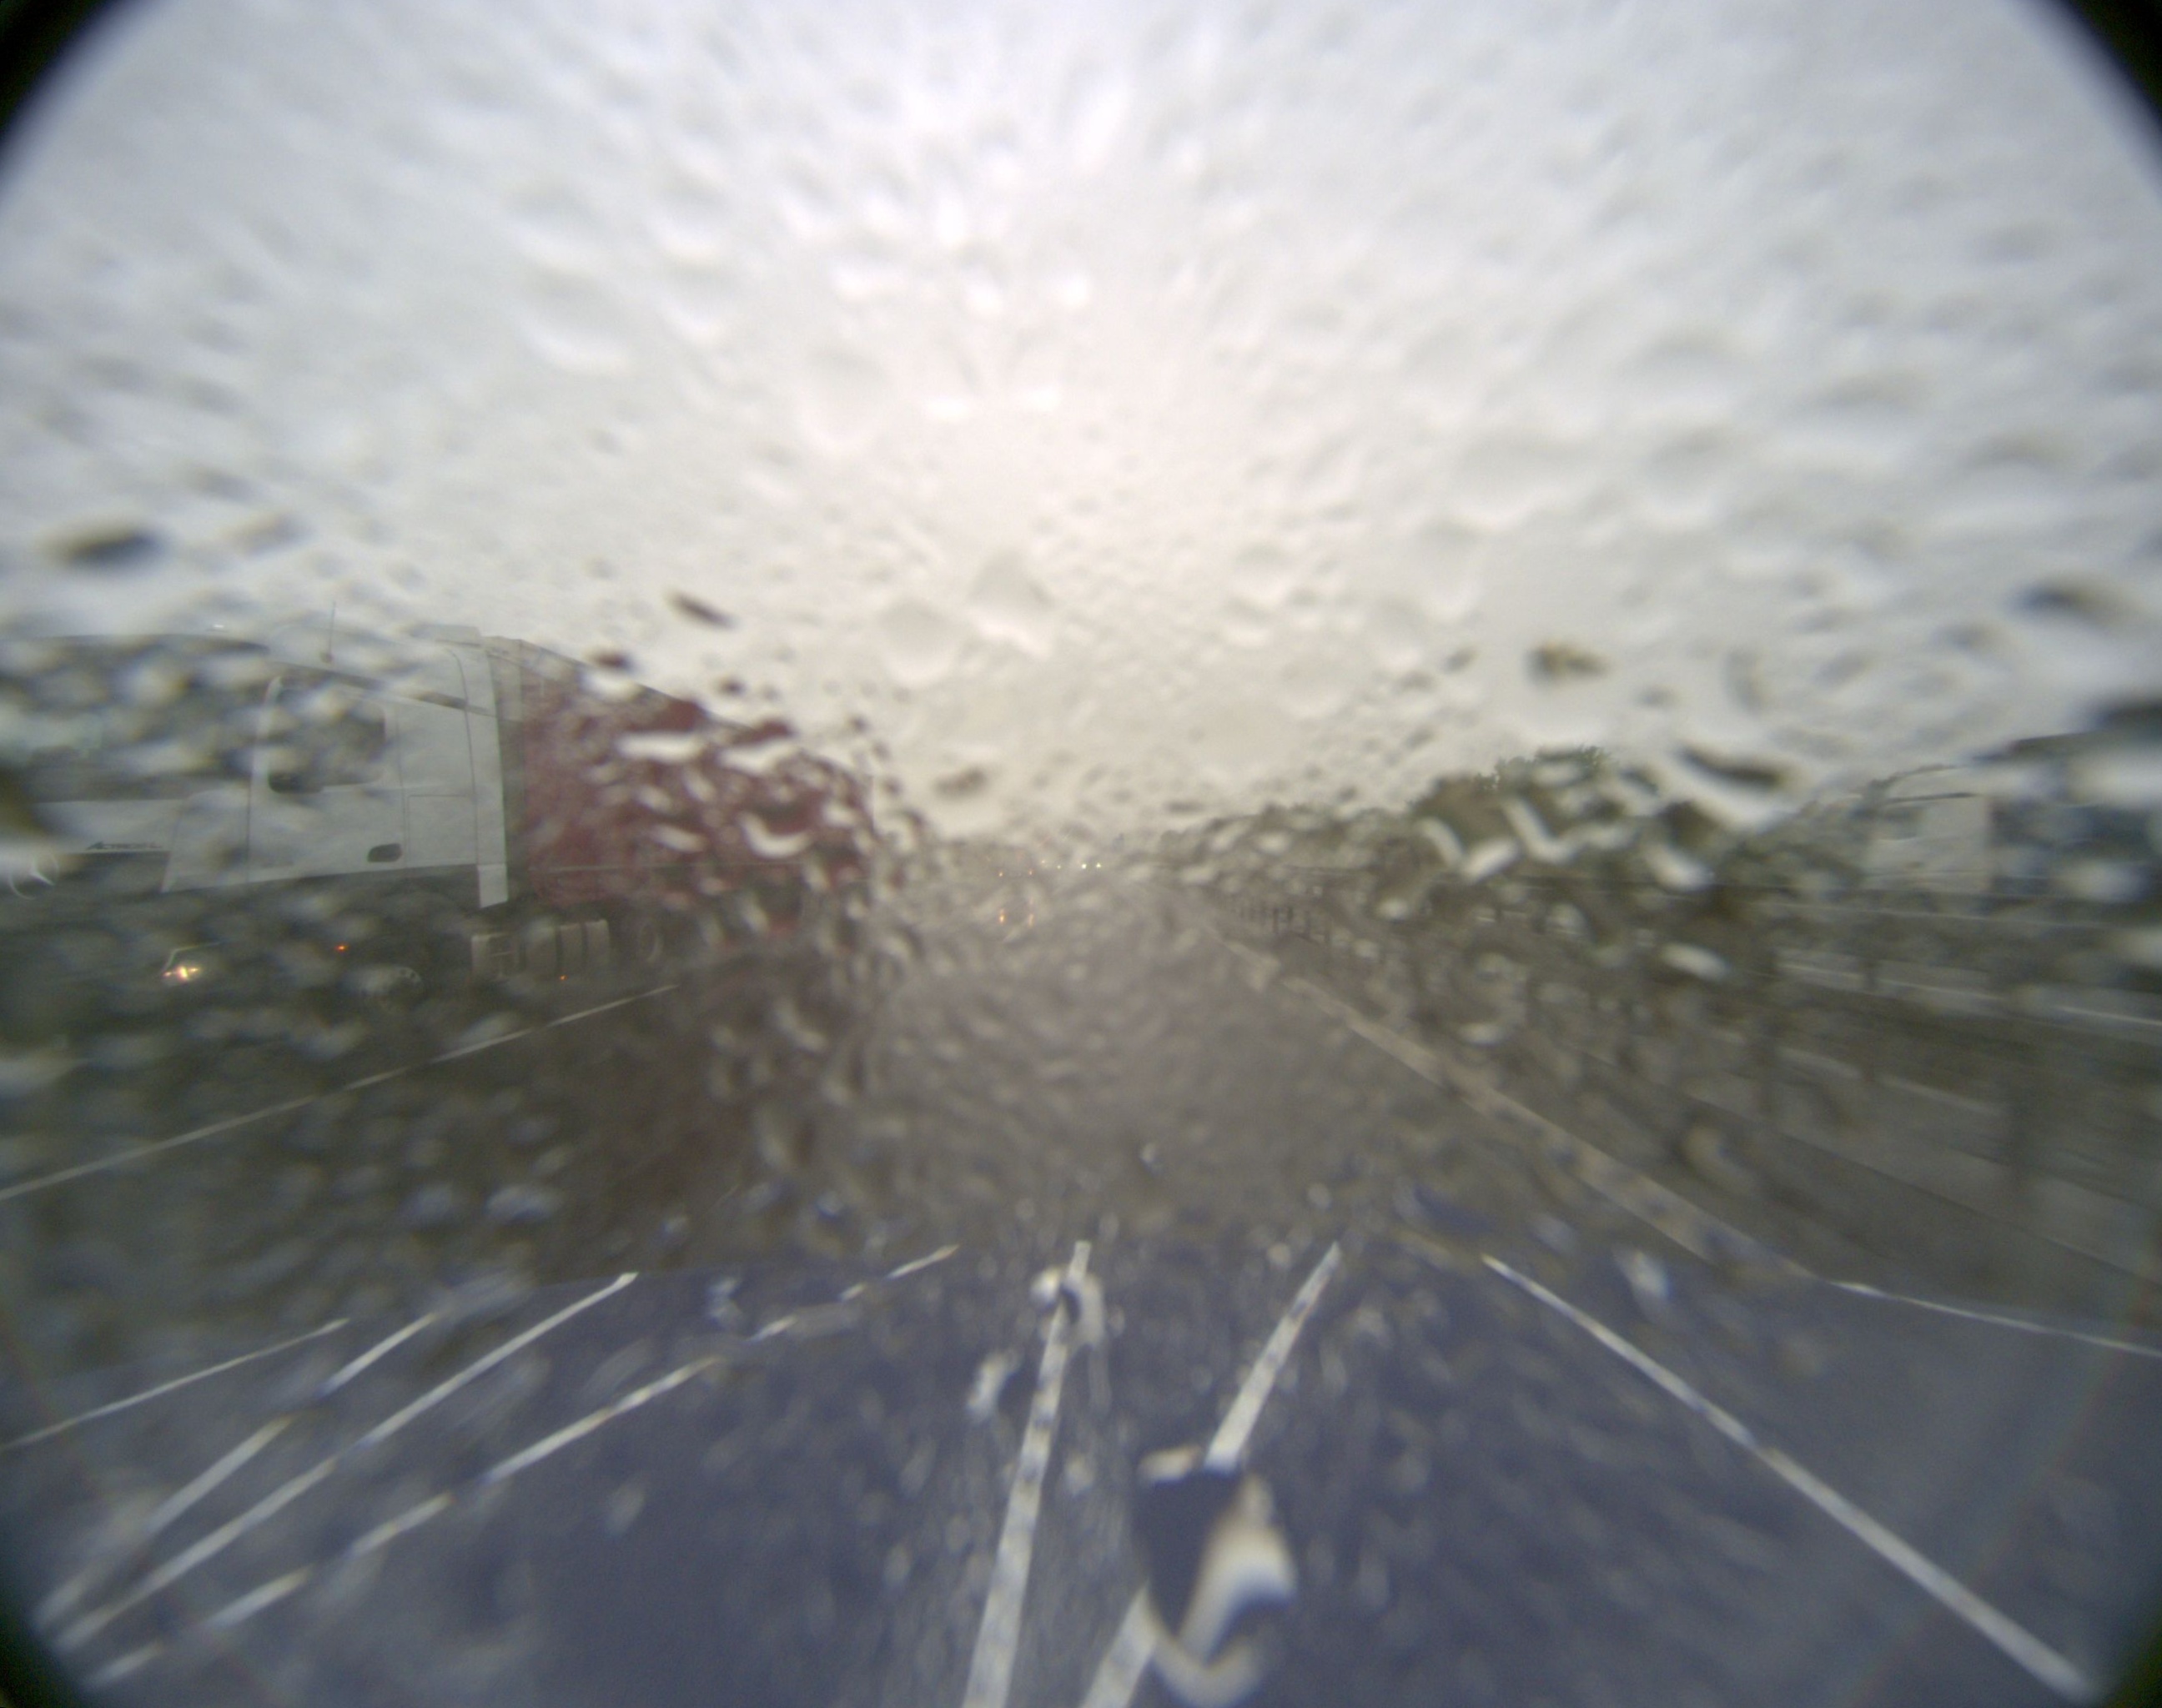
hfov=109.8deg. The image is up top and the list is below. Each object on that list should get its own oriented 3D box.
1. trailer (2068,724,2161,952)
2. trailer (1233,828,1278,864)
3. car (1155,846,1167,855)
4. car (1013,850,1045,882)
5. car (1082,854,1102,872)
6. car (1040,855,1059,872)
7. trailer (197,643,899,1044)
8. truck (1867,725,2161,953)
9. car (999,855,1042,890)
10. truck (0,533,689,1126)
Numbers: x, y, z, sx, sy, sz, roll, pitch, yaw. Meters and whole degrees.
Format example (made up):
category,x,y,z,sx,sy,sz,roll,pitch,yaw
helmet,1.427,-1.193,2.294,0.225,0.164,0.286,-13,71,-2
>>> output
category,x,y,z,sx,sy,sz,roll,pitch,yaw
trailer,19.157,-0.273,6.995,2.640,3.782,13.583,-2,0,1
trailer,20.282,-0.915,89.169,2.301,3.782,13.611,-2,0,1
car,22.983,-1.045,218.947,3.077,2.375,5.836,-2,0,1
car,-2.800,0.633,41.703,1.517,1.607,3.186,-2,0,0
car,1.096,0.876,76.316,1.845,1.671,4.000,-2,0,0
car,-3.463,1.024,83.366,1.845,1.671,4.000,-2,0,0
trailer,-7.065,-0.135,15.534,2.486,3.744,16.543,-2,0,0
truck,19.227,-0.301,14.601,2.629,3.783,5.400,-2,0,1
car,-2.808,0.820,36.132,1.663,1.491,3.836,-2,0,1
truck,-7.125,-0.147,8.117,2.457,3.866,6.198,-2,0,1
